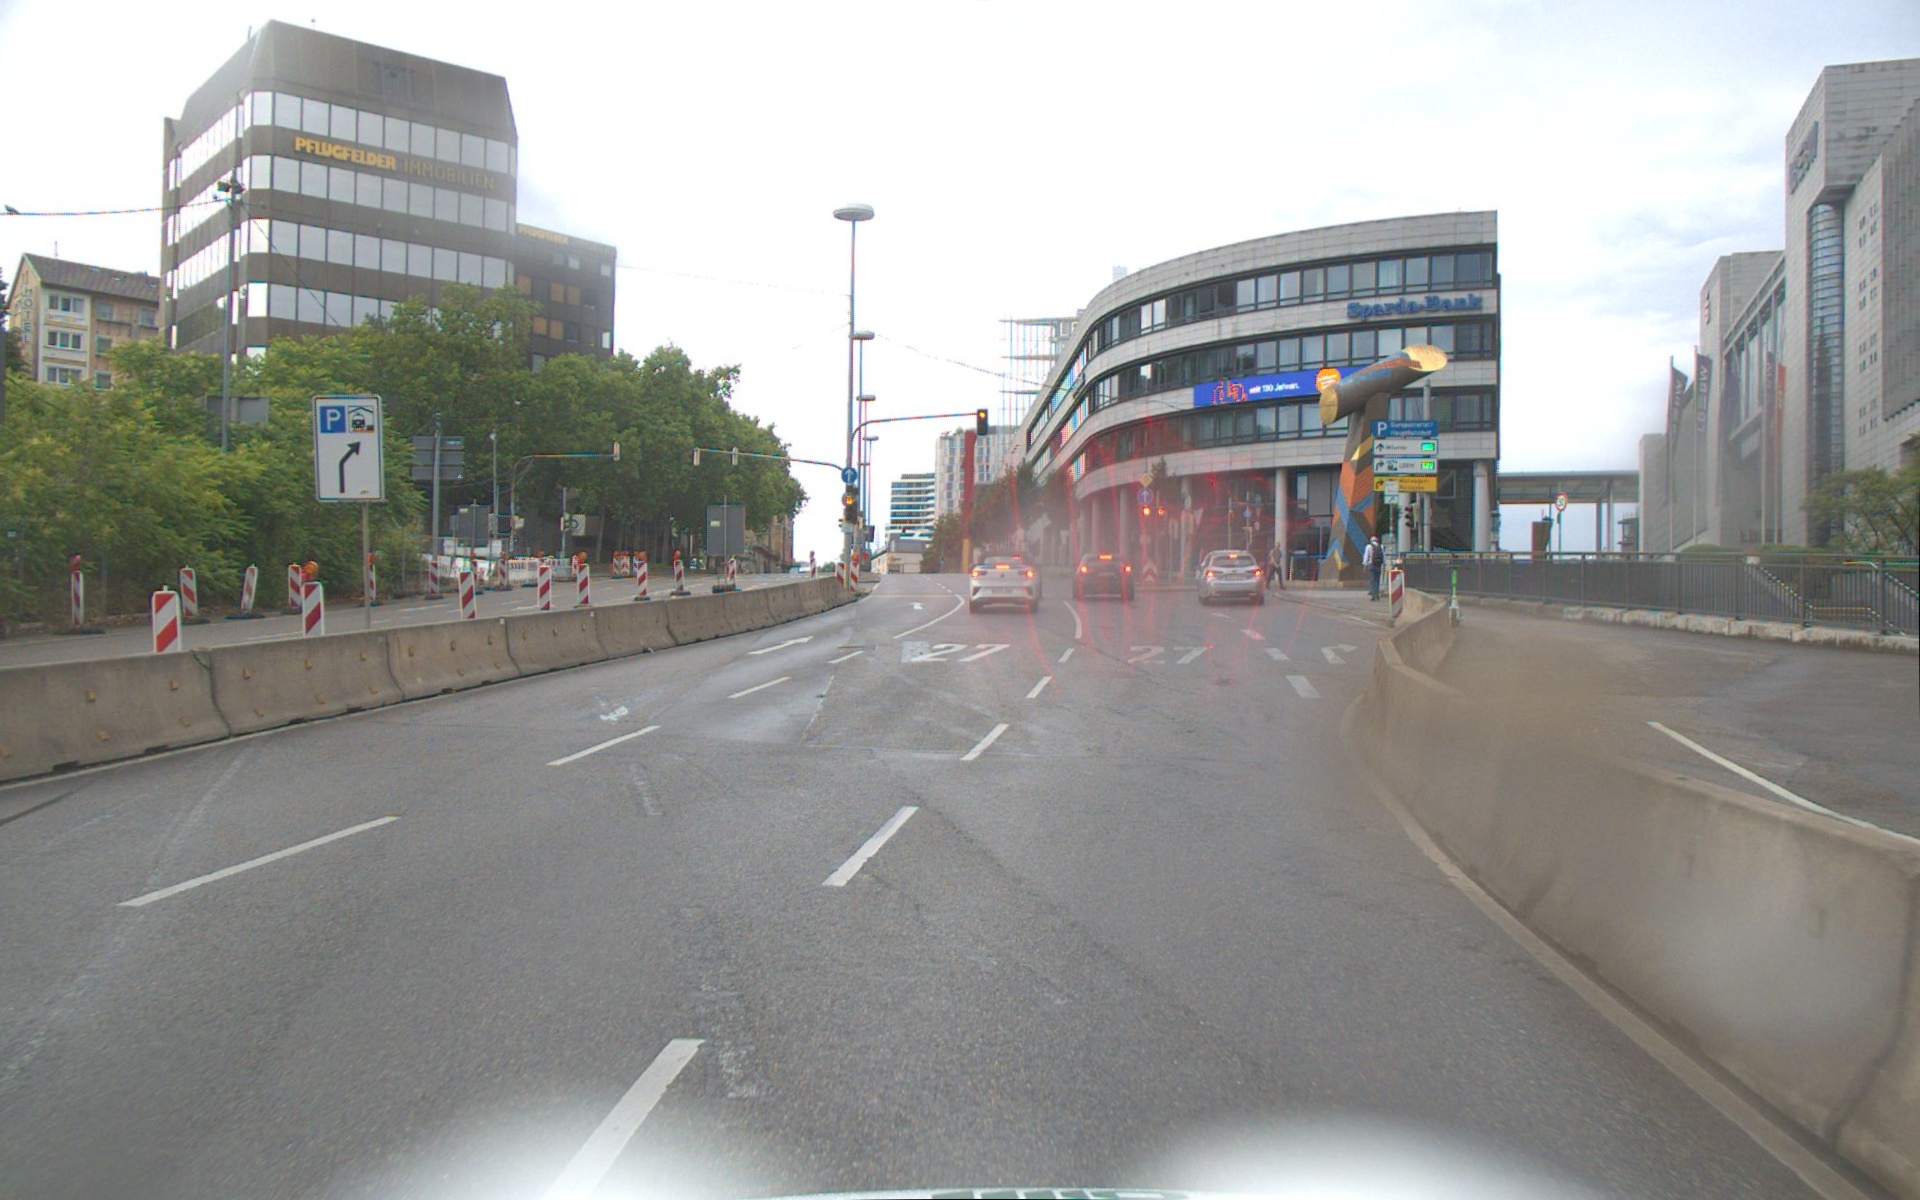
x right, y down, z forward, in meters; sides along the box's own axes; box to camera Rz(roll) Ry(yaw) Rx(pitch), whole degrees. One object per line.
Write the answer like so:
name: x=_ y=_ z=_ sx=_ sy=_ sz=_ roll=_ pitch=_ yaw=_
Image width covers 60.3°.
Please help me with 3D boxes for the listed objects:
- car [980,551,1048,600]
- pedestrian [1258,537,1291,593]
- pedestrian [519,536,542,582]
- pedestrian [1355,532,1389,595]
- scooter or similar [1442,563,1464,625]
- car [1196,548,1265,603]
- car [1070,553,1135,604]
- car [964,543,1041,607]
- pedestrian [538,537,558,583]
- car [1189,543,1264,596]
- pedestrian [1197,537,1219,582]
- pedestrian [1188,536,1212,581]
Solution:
car: x=1.646 y=-0.778 z=51.983 sx=1.705 sy=1.468 sz=3.997 roll=1 pitch=1 yaw=-4
pedestrian: x=12.341 y=-1.388 z=64.943 sx=0.841 sy=2.135 sz=0.897 roll=2 pitch=1 yaw=-25
pedestrian: x=-18.362 y=-1.750 z=70.775 sx=0.745 sy=1.956 sz=0.742 roll=1 pitch=-1 yaw=0
pedestrian: x=11.527 y=-1.014 z=46.274 sx=0.715 sy=1.741 sz=0.843 roll=1 pitch=-1 yaw=-3
scooter or similar: x=9.482 y=-0.115 z=31.816 sx=0.341 sy=1.183 sz=0.573 roll=1 pitch=0 yaw=13
car: x=7.751 y=-0.686 z=47.684 sx=1.665 sy=1.476 sz=4.619 roll=1 pitch=0 yaw=6
car: x=4.378 y=-0.654 z=51.286 sx=1.718 sy=1.432 sz=4.228 roll=2 pitch=0 yaw=1
car: x=1.164 y=-0.671 z=43.375 sx=1.923 sy=1.575 sz=4.221 roll=1 pitch=2 yaw=3
pedestrian: x=-17.631 y=-1.719 z=70.792 sx=0.658 sy=1.935 sz=0.775 roll=1 pitch=-1 yaw=1
car: x=8.808 y=-1.025 z=54.463 sx=1.734 sy=1.662 sz=4.583 roll=1 pitch=2 yaw=18
pedestrian: x=10.933 y=-1.782 z=72.861 sx=0.823 sy=1.938 sz=0.731 roll=0 pitch=0 yaw=24
pedestrian: x=10.455 y=-1.806 z=71.917 sx=0.823 sy=1.938 sz=0.861 roll=0 pitch=-1 yaw=24
